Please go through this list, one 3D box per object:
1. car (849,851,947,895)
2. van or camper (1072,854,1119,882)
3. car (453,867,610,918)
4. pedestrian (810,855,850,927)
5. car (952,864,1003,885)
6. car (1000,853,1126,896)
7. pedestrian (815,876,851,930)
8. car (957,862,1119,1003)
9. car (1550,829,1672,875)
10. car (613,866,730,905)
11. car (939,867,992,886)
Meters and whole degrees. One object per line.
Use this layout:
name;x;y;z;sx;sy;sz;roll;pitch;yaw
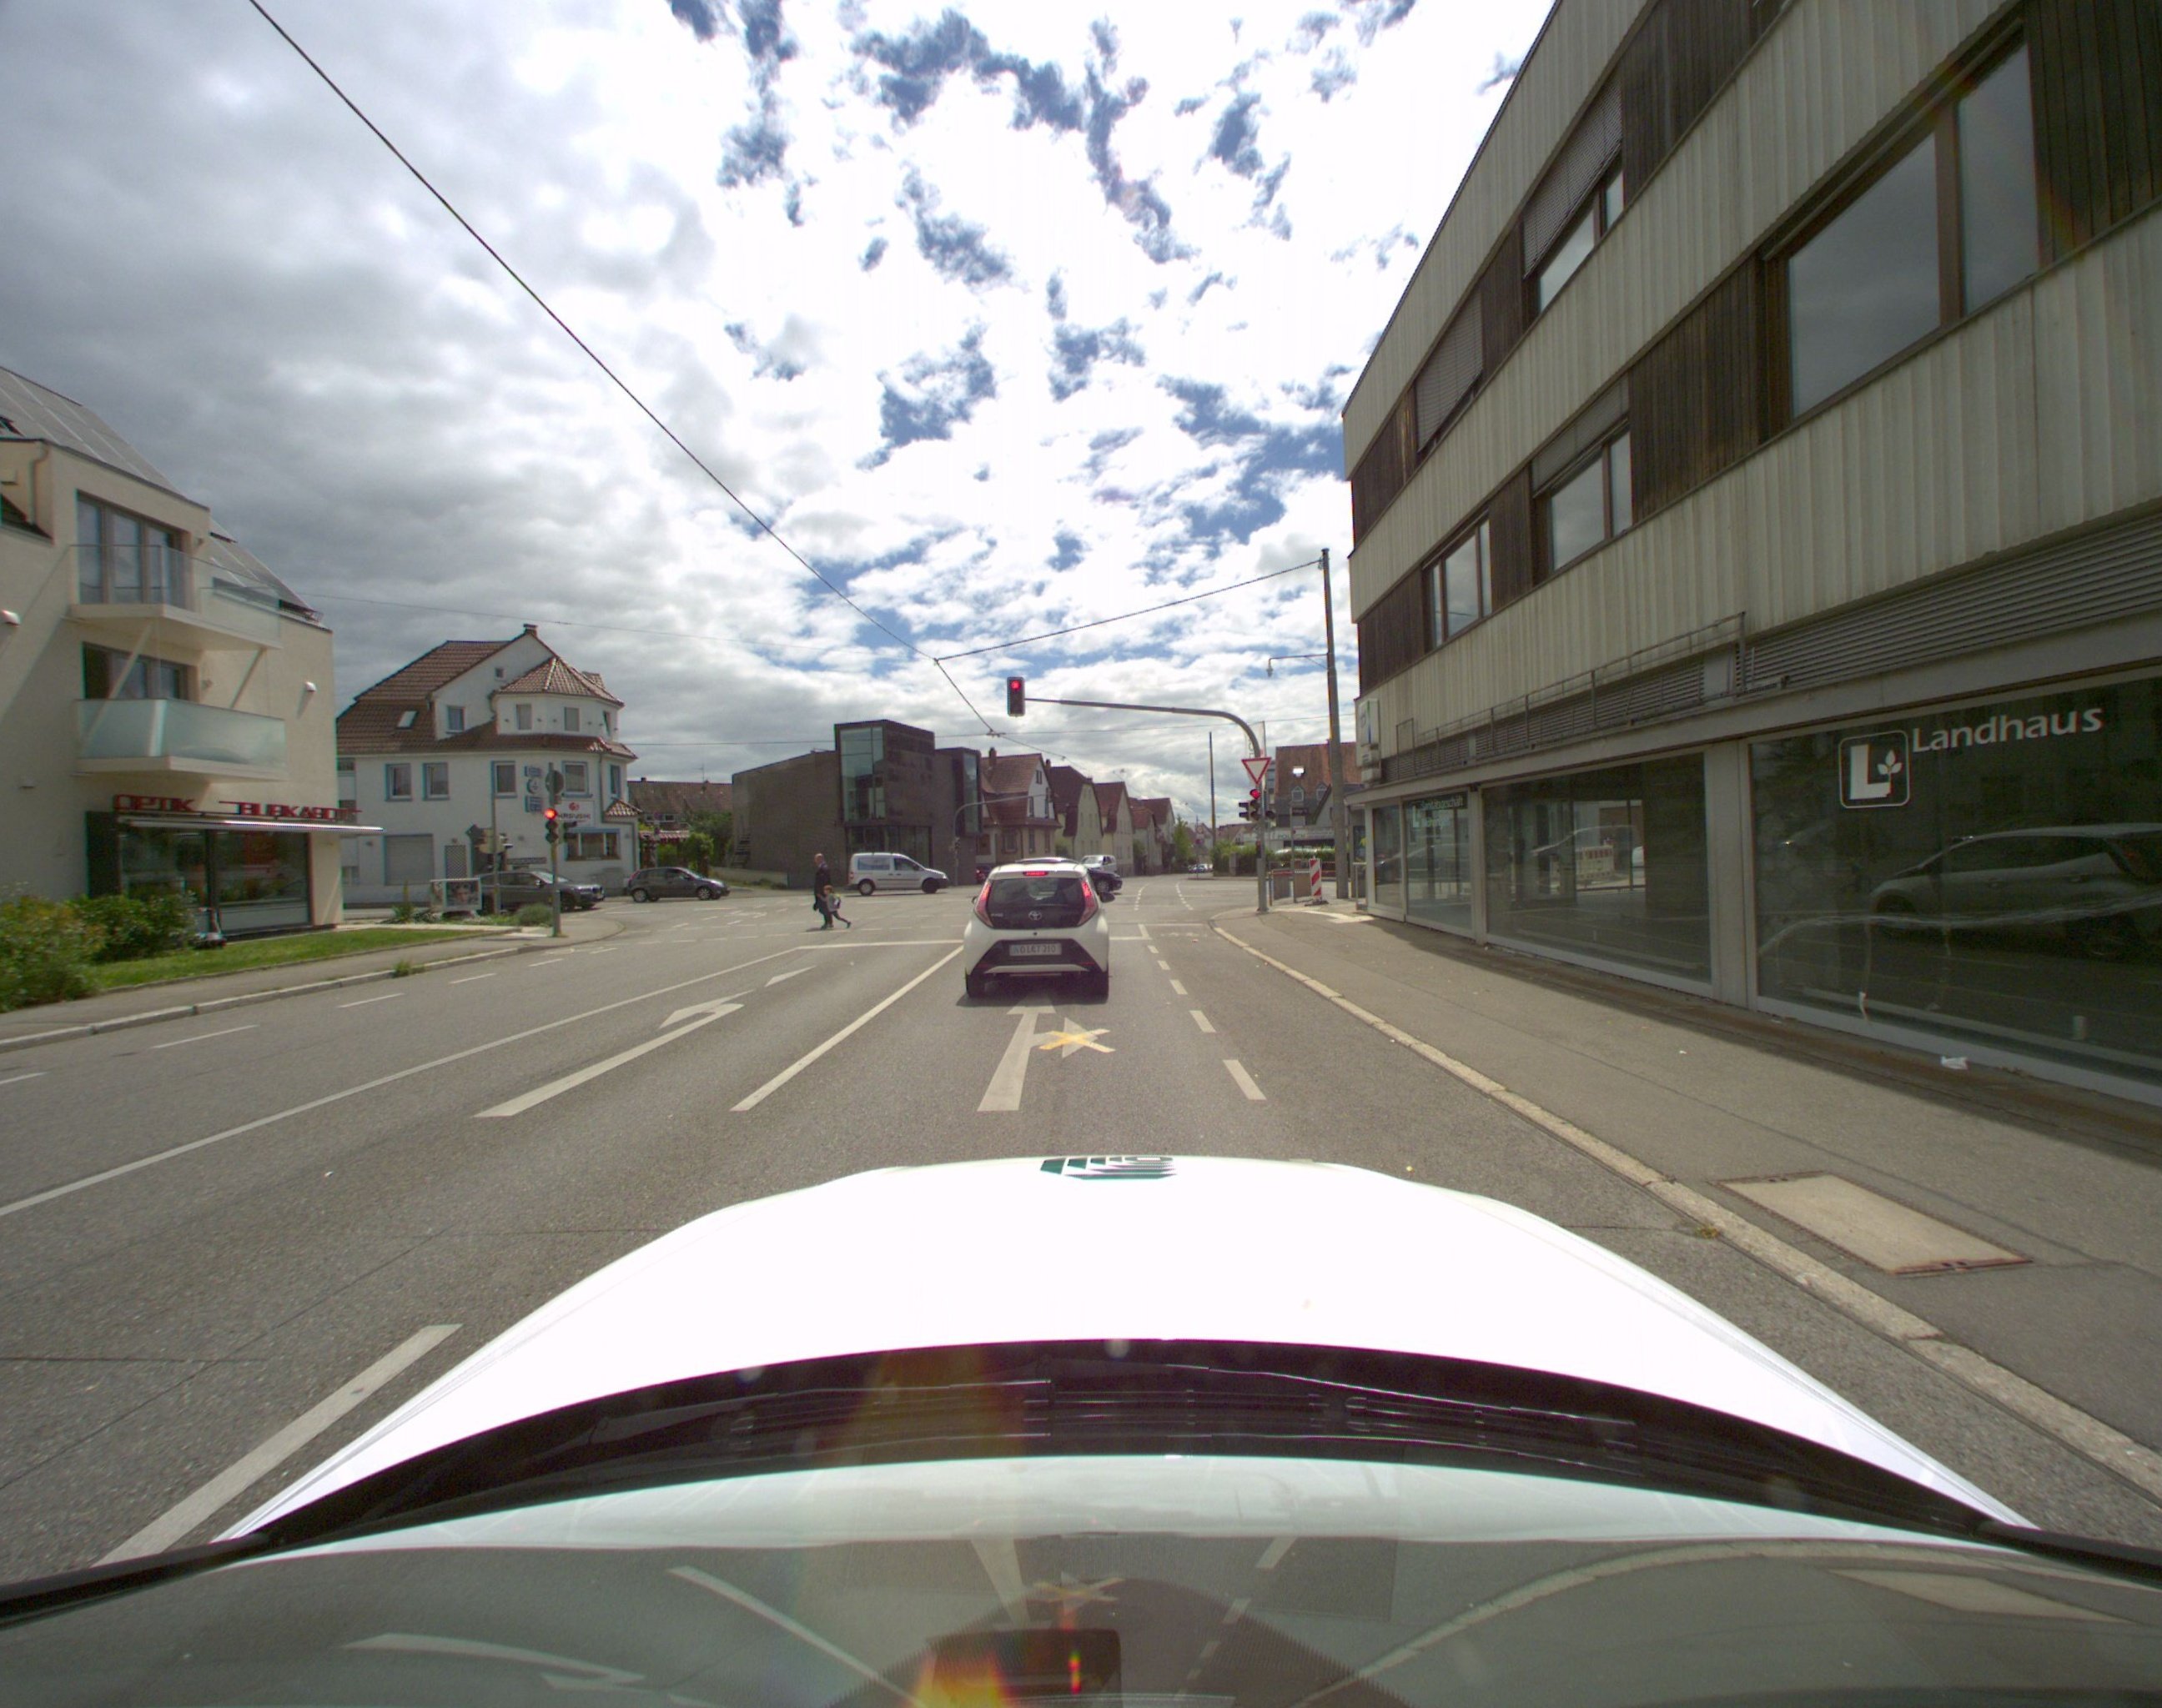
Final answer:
car;-7.994;0.789;35.639;4.067;1.849;1.990;0;-1;-15
van or camper;1.134;1.003;59.268;2.099;1.926;5.308;0;0;16
car;-20.059;1.368;29.931;4.292;1.675;1.993;-2;0;-10
pedestrian;-6.168;0.890;20.058;0.823;1.721;0.814;-1;0;-12
car;-8.173;1.615;64.507;3.590;1.605;1.697;0;-1;12
car;-0.763;0.787;32.559;4.891;1.577;1.995;-1;0;-7
pedestrian;-5.893;1.141;19.355;0.734;1.221;0.643;-1;0;-13
car;-0.461;0.834;10.202;1.692;1.456;3.298;0;-1;-1
car;22.274;-0.071;34.405;3.955;1.838;2.009;0;-1;17
car;-16.985;1.281;33.977;3.990;1.486;1.991;0;-1;-13
car;-8.804;1.694;62.295;3.590;1.419;1.697;0;-1;12
